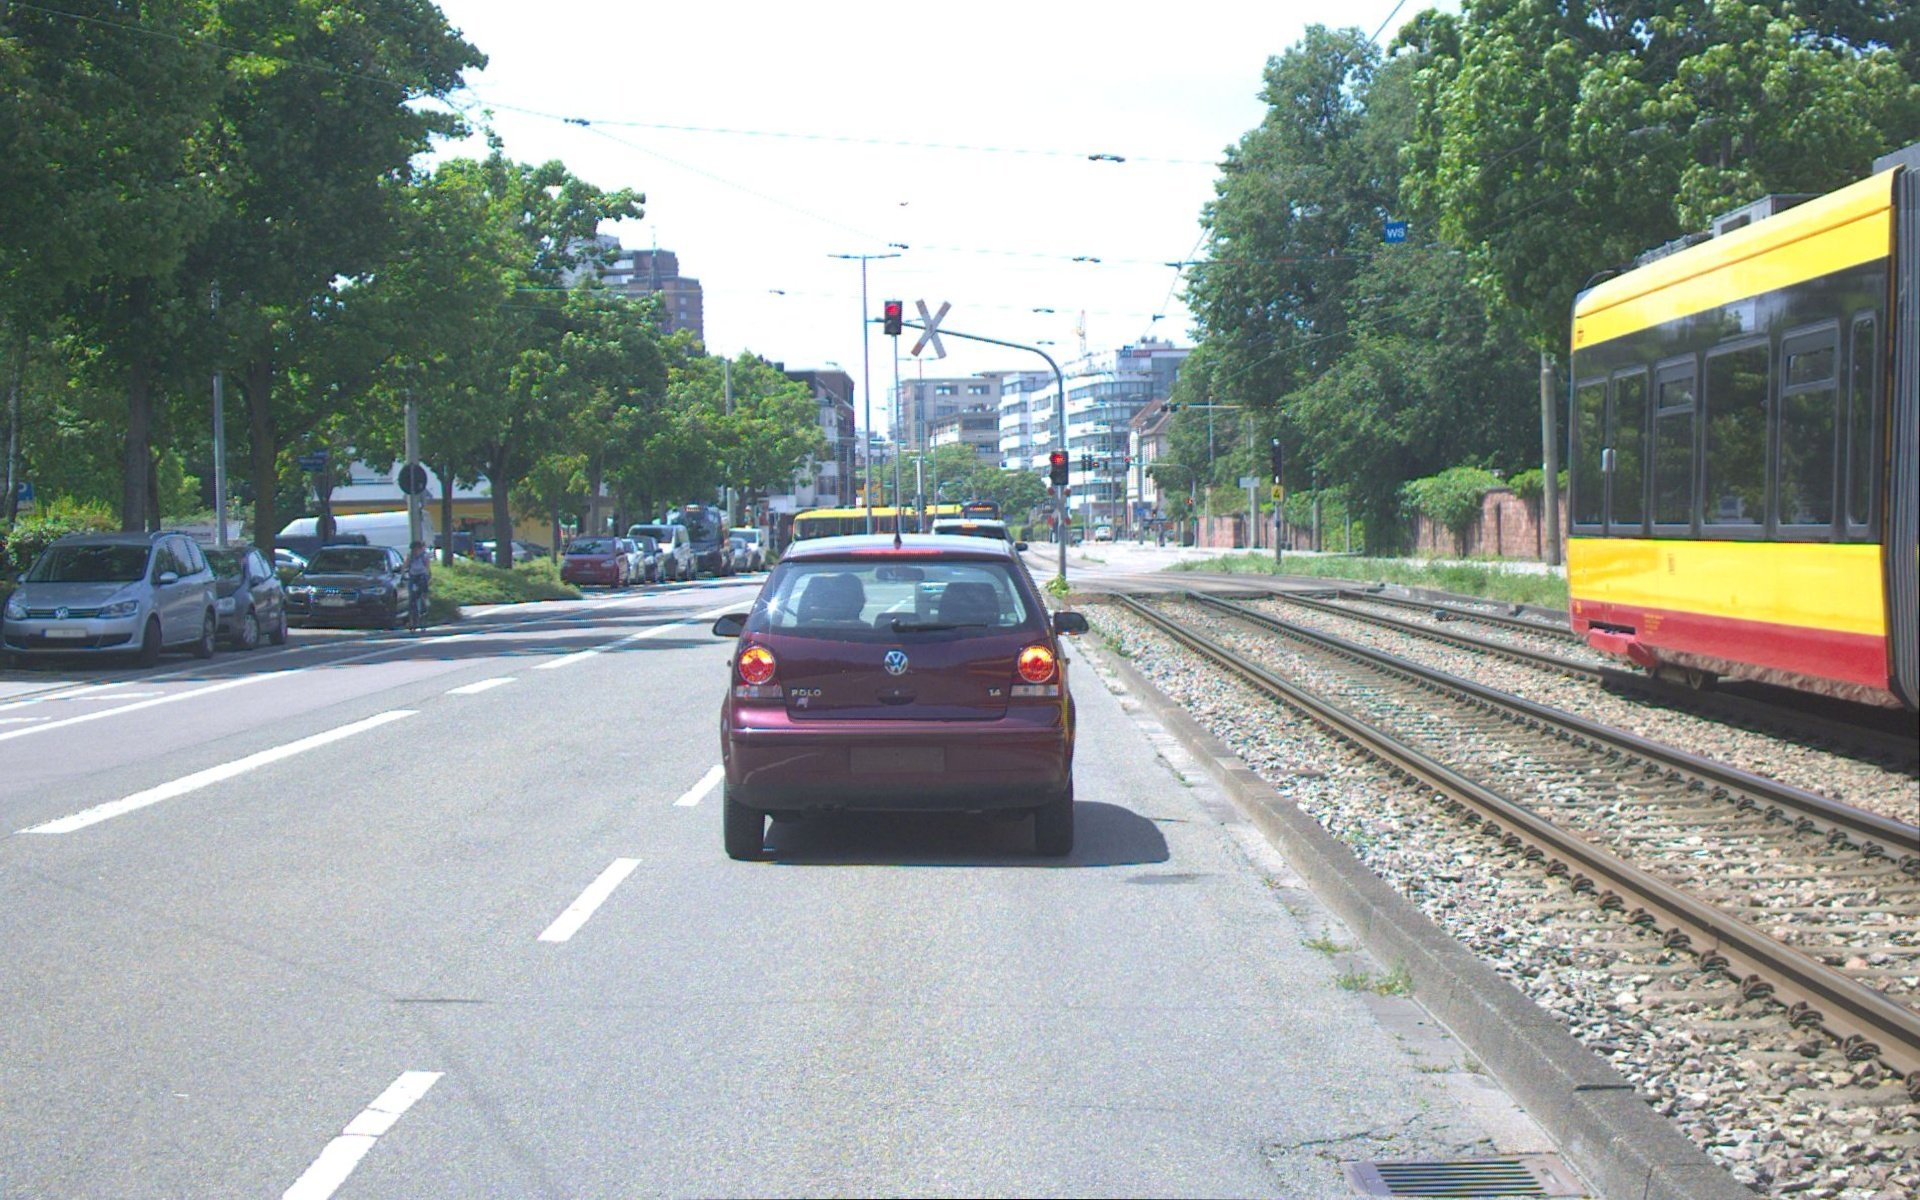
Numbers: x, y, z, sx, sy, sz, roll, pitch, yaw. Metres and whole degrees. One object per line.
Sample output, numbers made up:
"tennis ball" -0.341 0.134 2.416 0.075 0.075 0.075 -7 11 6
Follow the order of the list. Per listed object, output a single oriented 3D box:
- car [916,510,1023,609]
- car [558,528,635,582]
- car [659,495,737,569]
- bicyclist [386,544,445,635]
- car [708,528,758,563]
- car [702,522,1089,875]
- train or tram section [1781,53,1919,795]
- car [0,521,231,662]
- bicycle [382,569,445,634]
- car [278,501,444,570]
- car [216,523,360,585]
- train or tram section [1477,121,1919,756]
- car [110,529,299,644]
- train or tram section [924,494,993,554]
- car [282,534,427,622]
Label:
"car" 0.132 -0.728 59.187 1.777 1.641 4.000 0 1 -1
"car" -10.452 -1.297 99.066 1.663 1.491 4.000 1 1 2
"car" -9.792 -2.514 128.878 2.361 2.683 5.307 1 1 1
"bicyclist" -8.922 -0.182 56.329 0.735 1.426 1.125 -4 1 -3
"car" -9.650 -2.300 146.366 1.614 1.436 4.000 1 1 4
"car" -0.302 0.382 16.936 1.672 1.516 4.000 0 1 -1
"train or tram section" 6.389 -0.826 13.937 3.028 3.785 13.090 -1 1 0
"car" -10.849 -0.157 44.313 1.872 1.659 4.781 -1 2 0
"bicycle" -8.940 0.019 56.295 0.701 0.948 2.243 -4 2 -2
"car" -20.146 -2.175 115.821 5.097 2.237 2.378 1 0 2
"car" -20.540 -1.418 105.224 3.987 1.740 1.998 -2 1 -1
"train or tram section" 6.510 -1.137 26.947 3.028 3.785 12.761 -1 1 0
"car" -10.828 -0.234 49.550 1.818 1.559 4.181 0 1 0
"train or tram section" -0.158 -4.725 212.071 2.740 3.597 12.873 1 1 -7
"car" -10.748 -0.424 61.323 1.818 1.471 4.449 0 1 0
